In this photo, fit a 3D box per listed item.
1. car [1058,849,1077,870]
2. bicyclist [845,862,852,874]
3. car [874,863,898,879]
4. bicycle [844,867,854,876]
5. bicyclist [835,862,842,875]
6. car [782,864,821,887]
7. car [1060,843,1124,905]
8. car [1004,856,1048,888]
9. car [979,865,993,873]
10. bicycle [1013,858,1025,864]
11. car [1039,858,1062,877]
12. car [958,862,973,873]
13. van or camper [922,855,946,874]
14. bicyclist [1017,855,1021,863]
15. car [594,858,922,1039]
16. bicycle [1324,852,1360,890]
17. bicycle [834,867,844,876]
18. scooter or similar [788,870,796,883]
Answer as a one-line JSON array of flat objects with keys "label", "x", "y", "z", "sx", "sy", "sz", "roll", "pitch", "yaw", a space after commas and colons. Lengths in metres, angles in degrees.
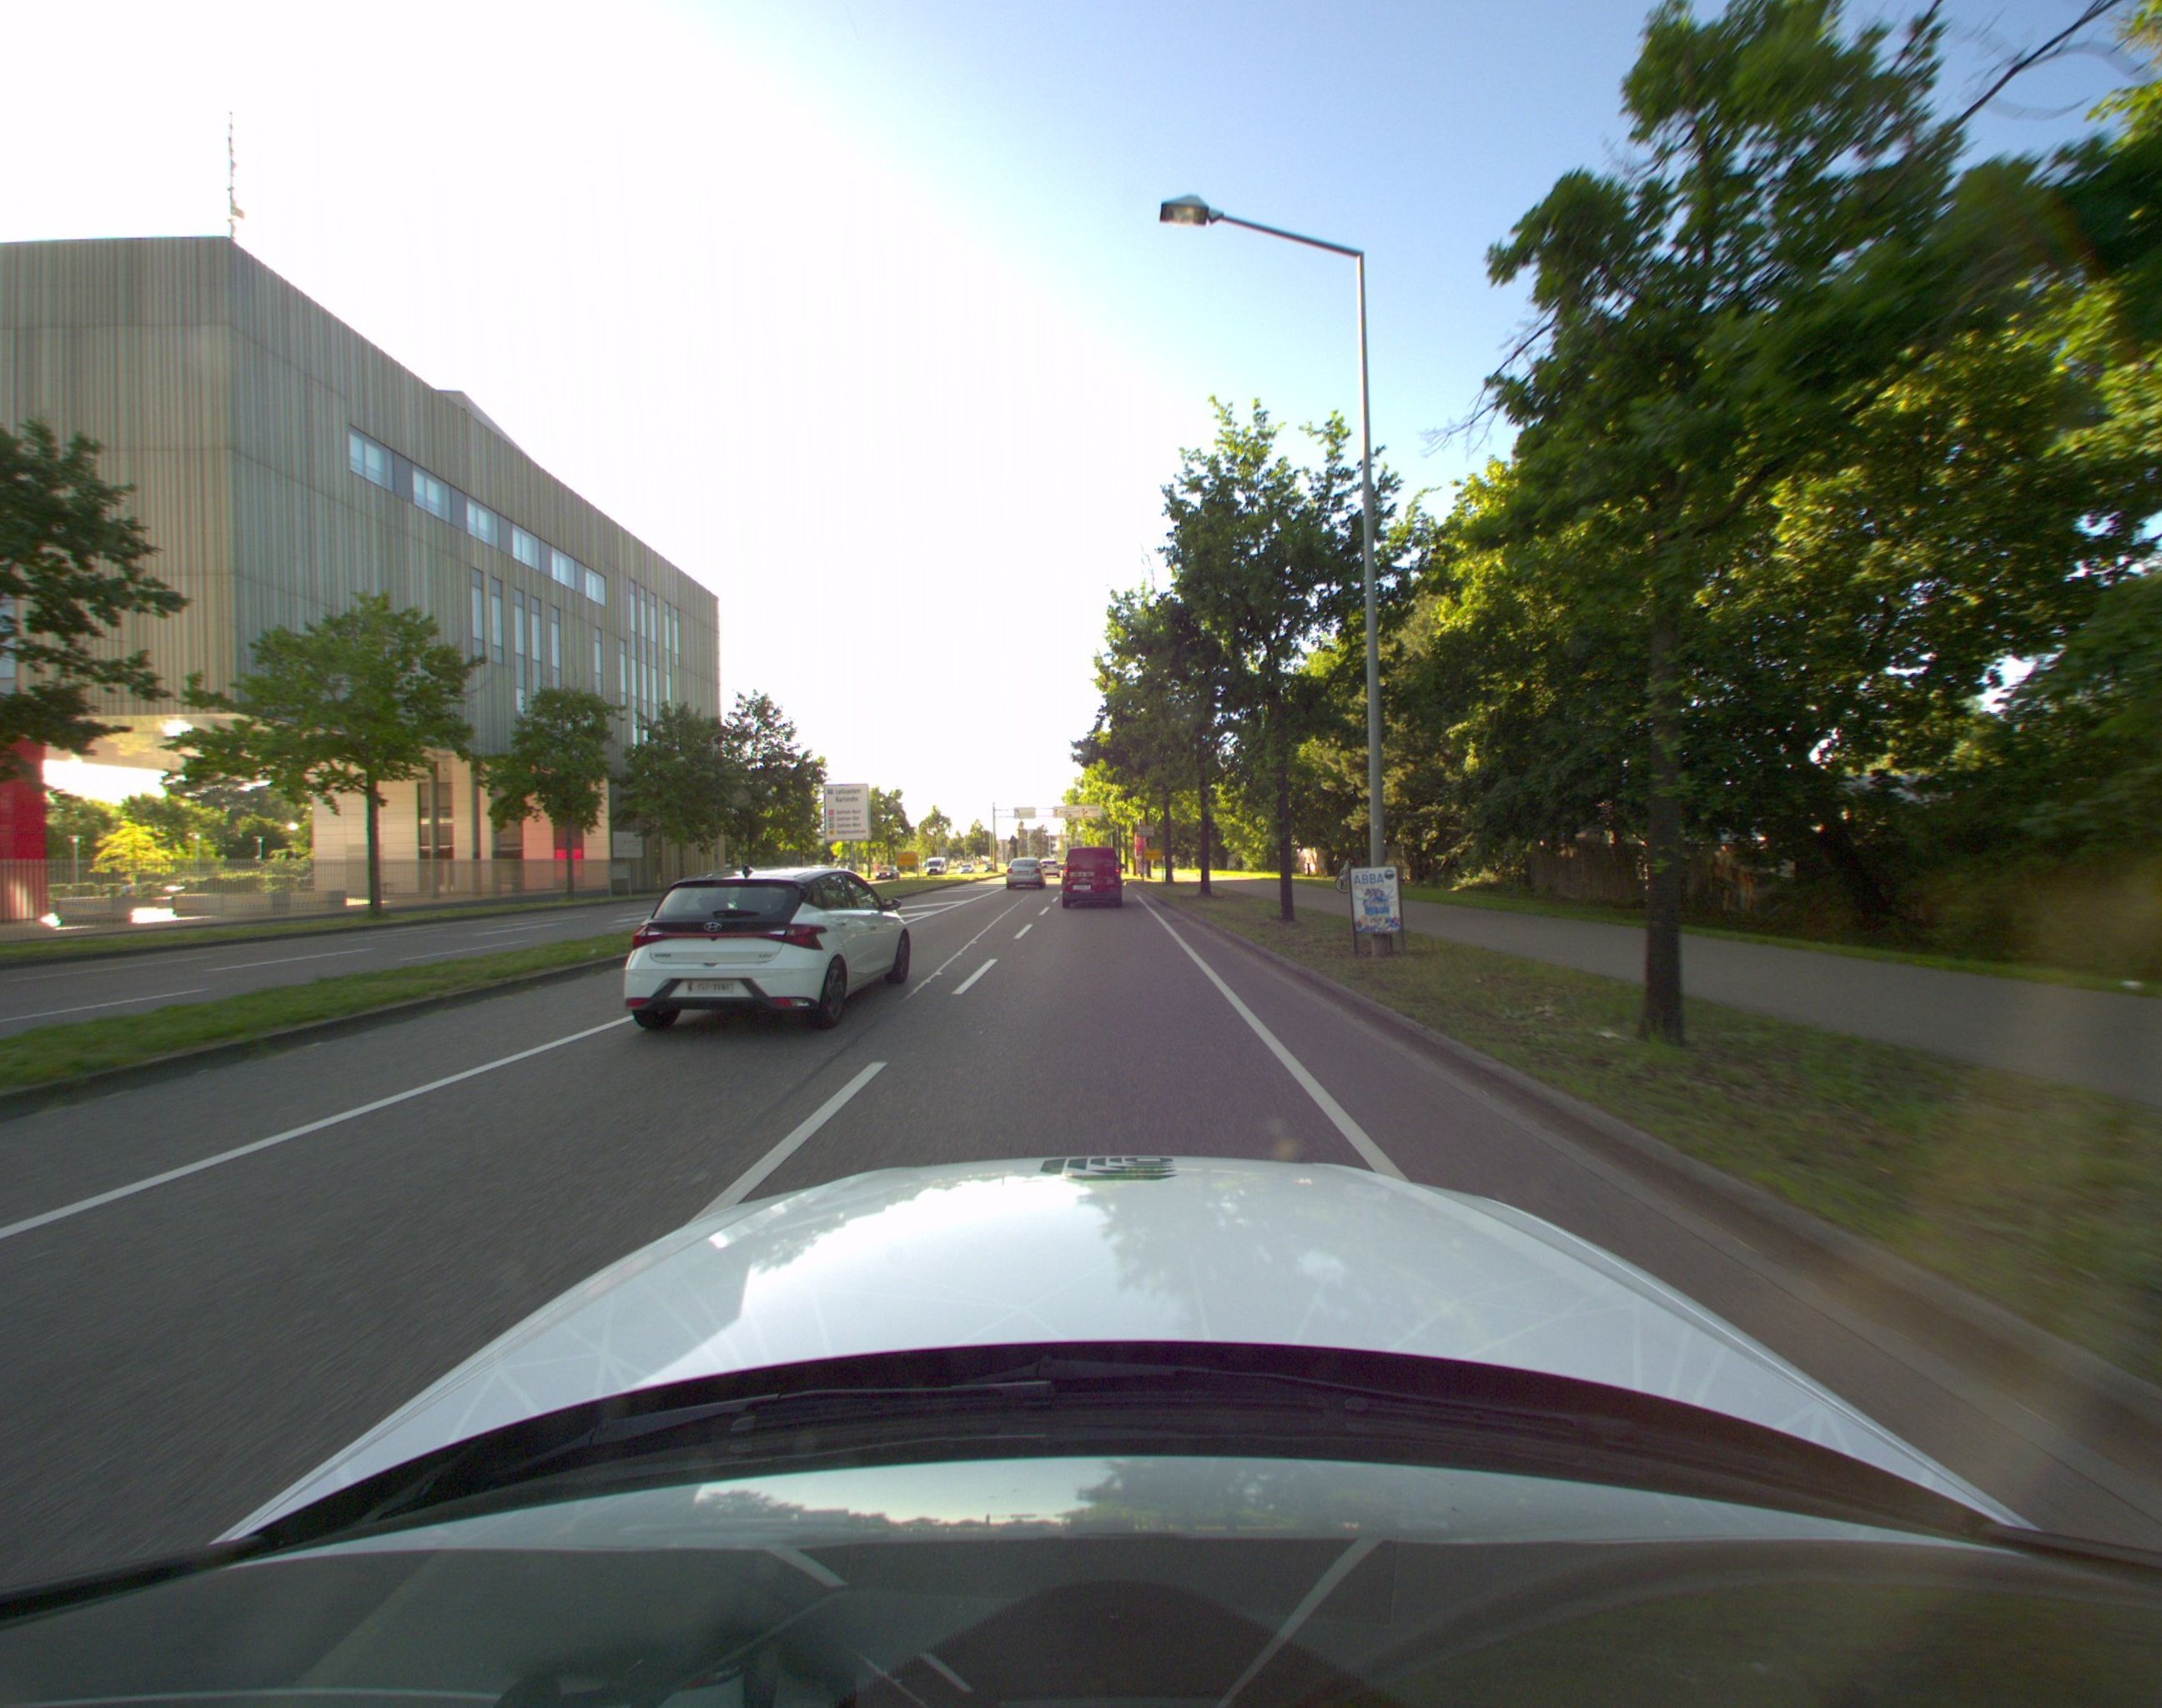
[{"label": "car", "x": -1.273, "y": 0.521, "z": 75.553, "sx": 1.656, "sy": 1.856, "sz": 3.557, "roll": -2, "pitch": 0, "yaw": -1}, {"label": "bicyclist", "x": -26.601, "y": 1.620, "z": 93.112, "sx": 0.561, "sy": 1.392, "sz": 0.747, "roll": -2, "pitch": -1, "yaw": -2}, {"label": "car", "x": -19.405, "y": 1.692, "z": 81.257, "sx": 1.546, "sy": 1.508, "sz": 4.023, "roll": -2, "pitch": 0, "yaw": -2}, {"label": "bicycle", "x": -26.590, "y": 1.997, "z": 93.175, "sx": 0.568, "sy": 1.003, "sz": 2.095, "roll": -2, "pitch": -1, "yaw": -1}, {"label": "bicyclist", "x": -27.676, "y": 1.667, "z": 93.021, "sx": 0.481, "sy": 1.395, "sz": 0.844, "roll": -2, "pitch": -1, "yaw": -2}, {"label": "car", "x": -18.837, "y": 1.408, "z": 55.008, "sx": 1.442, "sy": 1.436, "sz": 3.457, "roll": -2, "pitch": 0, "yaw": -2}, {"label": "car", "x": 0.296, "y": 0.570, "z": 25.055, "sx": 1.801, "sy": 1.759, "sz": 4.004, "roll": 0, "pitch": 0, "yaw": -1}, {"label": "car", "x": -2.613, "y": 0.825, "z": 39.534, "sx": 1.835, "sy": 1.456, "sz": 4.161, "roll": 0, "pitch": 0, "yaw": 0}, {"label": "car", "x": -14.303, "y": 2.267, "z": 122.558, "sx": 1.823, "sy": 1.111, "sz": 4.170, "roll": -2, "pitch": 0, "yaw": -2}, {"label": "bicycle", "x": -11.289, "y": 1.288, "z": 148.304, "sx": 1.953, "sy": 1.166, "sz": 0.517, "roll": -2, "pitch": -1, "yaw": -2}, {"label": "car", "x": -2.394, "y": 1.047, "z": 64.210, "sx": 1.656, "sy": 1.398, "sz": 3.557, "roll": -2, "pitch": 0, "yaw": -1}, {"label": "car", "x": -16.432, "y": 1.967, "z": 116.427, "sx": 1.684, "sy": 1.476, "sz": 4.046, "roll": -2, "pitch": 0, "yaw": -2}, {"label": "van or camper", "x": -18.878, "y": 1.311, "z": 105.023, "sx": 1.988, "sy": 2.368, "sz": 5.990, "roll": -3, "pitch": 0, "yaw": -1}, {"label": "bicyclist", "x": -11.259, "y": 0.918, "z": 148.309, "sx": 0.602, "sy": 1.468, "sz": 0.517, "roll": -2, "pitch": -1, "yaw": -2}, {"label": "car", "x": -3.019, "y": 0.777, "z": 8.646, "sx": 1.772, "sy": 1.409, "sz": 4.075, "roll": -1, "pitch": 0, "yaw": 1}, {"label": "bicycle", "x": 8.120, "y": 0.524, "z": 25.404, "sx": 0.769, "sy": 1.131, "sz": 1.712, "roll": -2, "pitch": 0, "yaw": 7}, {"label": "bicycle", "x": -27.668, "y": 2.018, "z": 93.109, "sx": 0.485, "sy": 1.003, "sz": 2.095, "roll": -2, "pitch": -1, "yaw": -1}, {"label": "scooter or similar", "x": -26.176, "y": 1.989, "z": 73.650, "sx": 0.230, "sy": 1.149, "sz": 1.327, "roll": -2, "pitch": -1, "yaw": 0}]
